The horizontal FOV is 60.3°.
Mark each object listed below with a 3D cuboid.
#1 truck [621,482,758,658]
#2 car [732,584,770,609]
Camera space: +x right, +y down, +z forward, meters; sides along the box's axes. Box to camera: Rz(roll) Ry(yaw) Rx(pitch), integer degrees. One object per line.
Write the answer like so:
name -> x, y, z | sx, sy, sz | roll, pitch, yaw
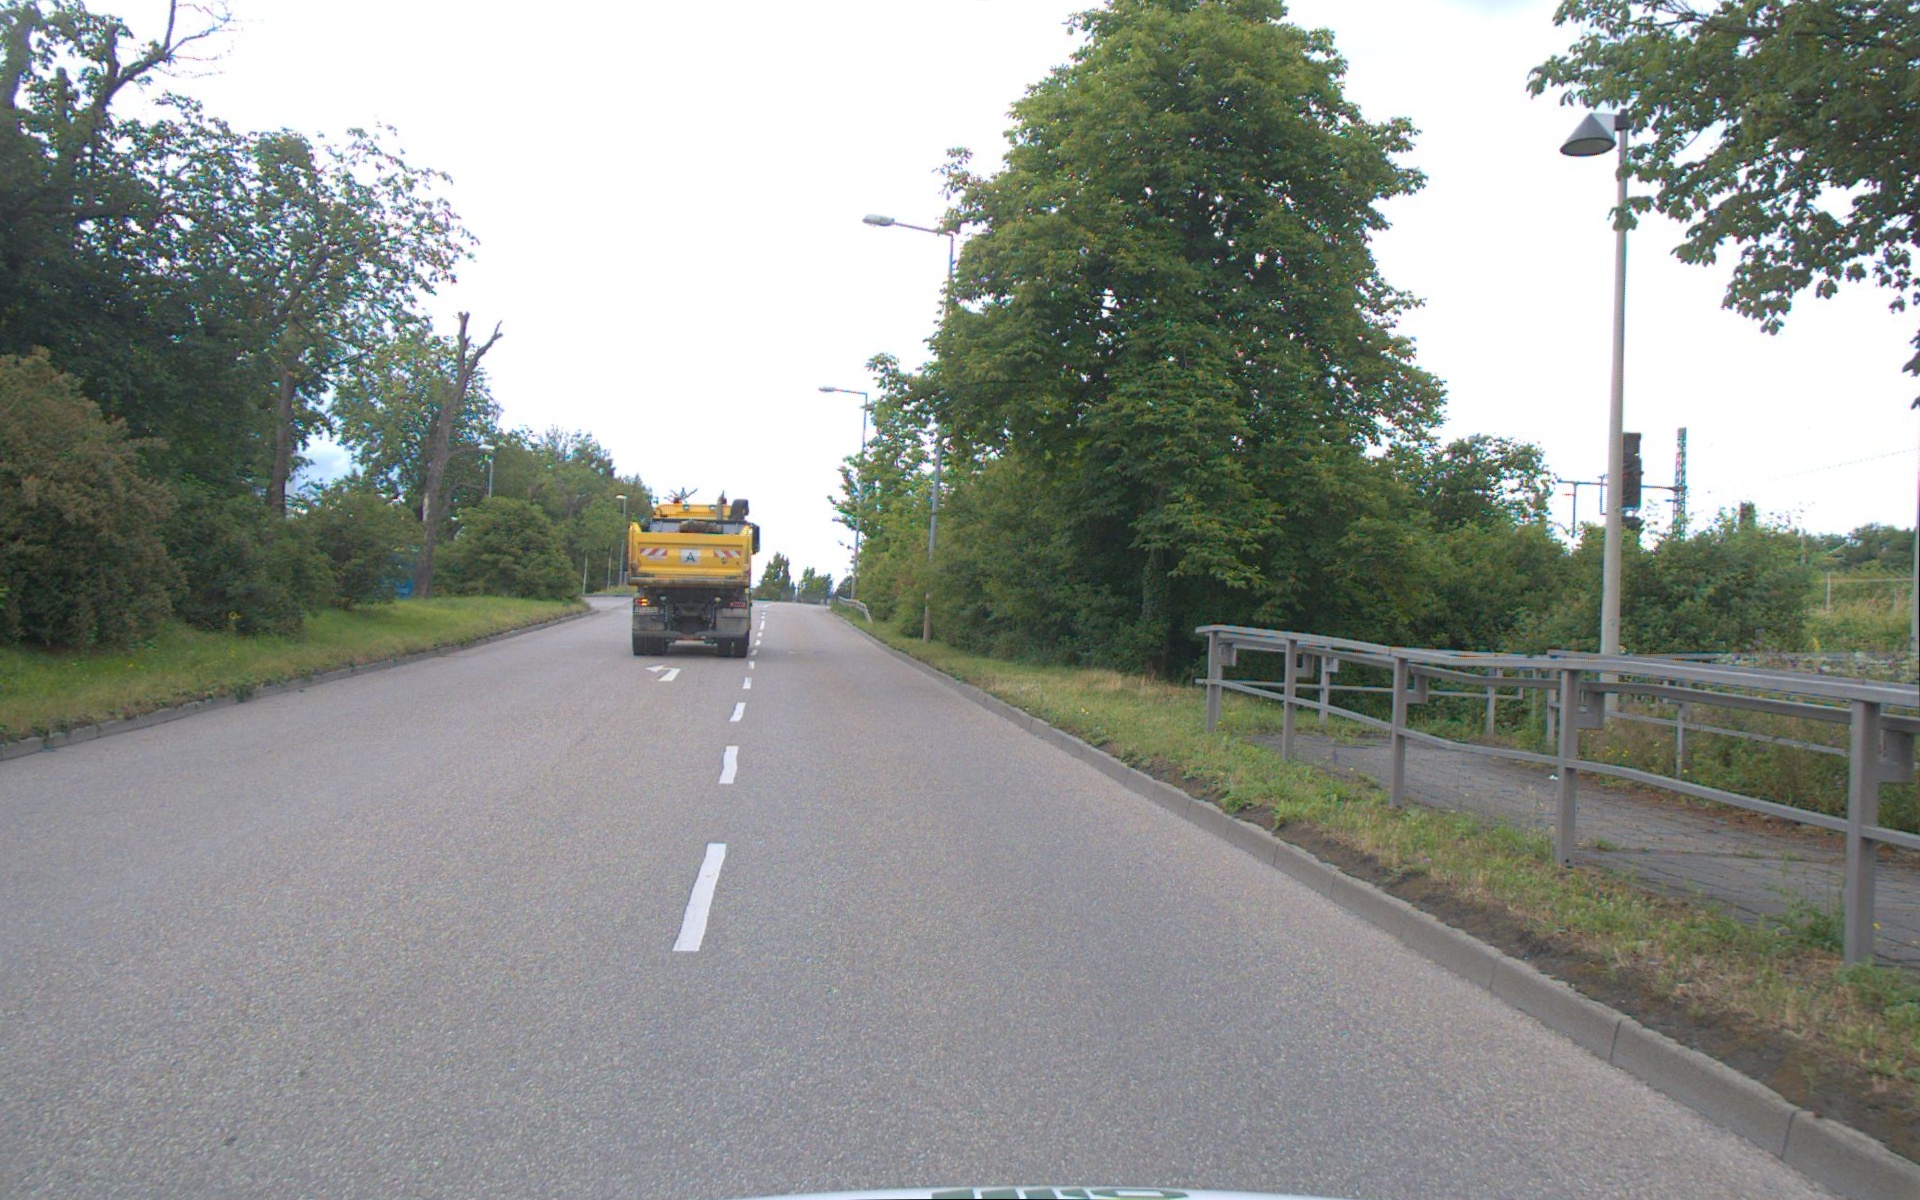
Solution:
truck -> -6.019, -0.661, 37.852 | 2.712, 3.544, 8.117 | 1, 1, -7
car -> -14.836, -0.238, 117.727 | 1.952, 1.668, 4.001 | 3, 0, 2
